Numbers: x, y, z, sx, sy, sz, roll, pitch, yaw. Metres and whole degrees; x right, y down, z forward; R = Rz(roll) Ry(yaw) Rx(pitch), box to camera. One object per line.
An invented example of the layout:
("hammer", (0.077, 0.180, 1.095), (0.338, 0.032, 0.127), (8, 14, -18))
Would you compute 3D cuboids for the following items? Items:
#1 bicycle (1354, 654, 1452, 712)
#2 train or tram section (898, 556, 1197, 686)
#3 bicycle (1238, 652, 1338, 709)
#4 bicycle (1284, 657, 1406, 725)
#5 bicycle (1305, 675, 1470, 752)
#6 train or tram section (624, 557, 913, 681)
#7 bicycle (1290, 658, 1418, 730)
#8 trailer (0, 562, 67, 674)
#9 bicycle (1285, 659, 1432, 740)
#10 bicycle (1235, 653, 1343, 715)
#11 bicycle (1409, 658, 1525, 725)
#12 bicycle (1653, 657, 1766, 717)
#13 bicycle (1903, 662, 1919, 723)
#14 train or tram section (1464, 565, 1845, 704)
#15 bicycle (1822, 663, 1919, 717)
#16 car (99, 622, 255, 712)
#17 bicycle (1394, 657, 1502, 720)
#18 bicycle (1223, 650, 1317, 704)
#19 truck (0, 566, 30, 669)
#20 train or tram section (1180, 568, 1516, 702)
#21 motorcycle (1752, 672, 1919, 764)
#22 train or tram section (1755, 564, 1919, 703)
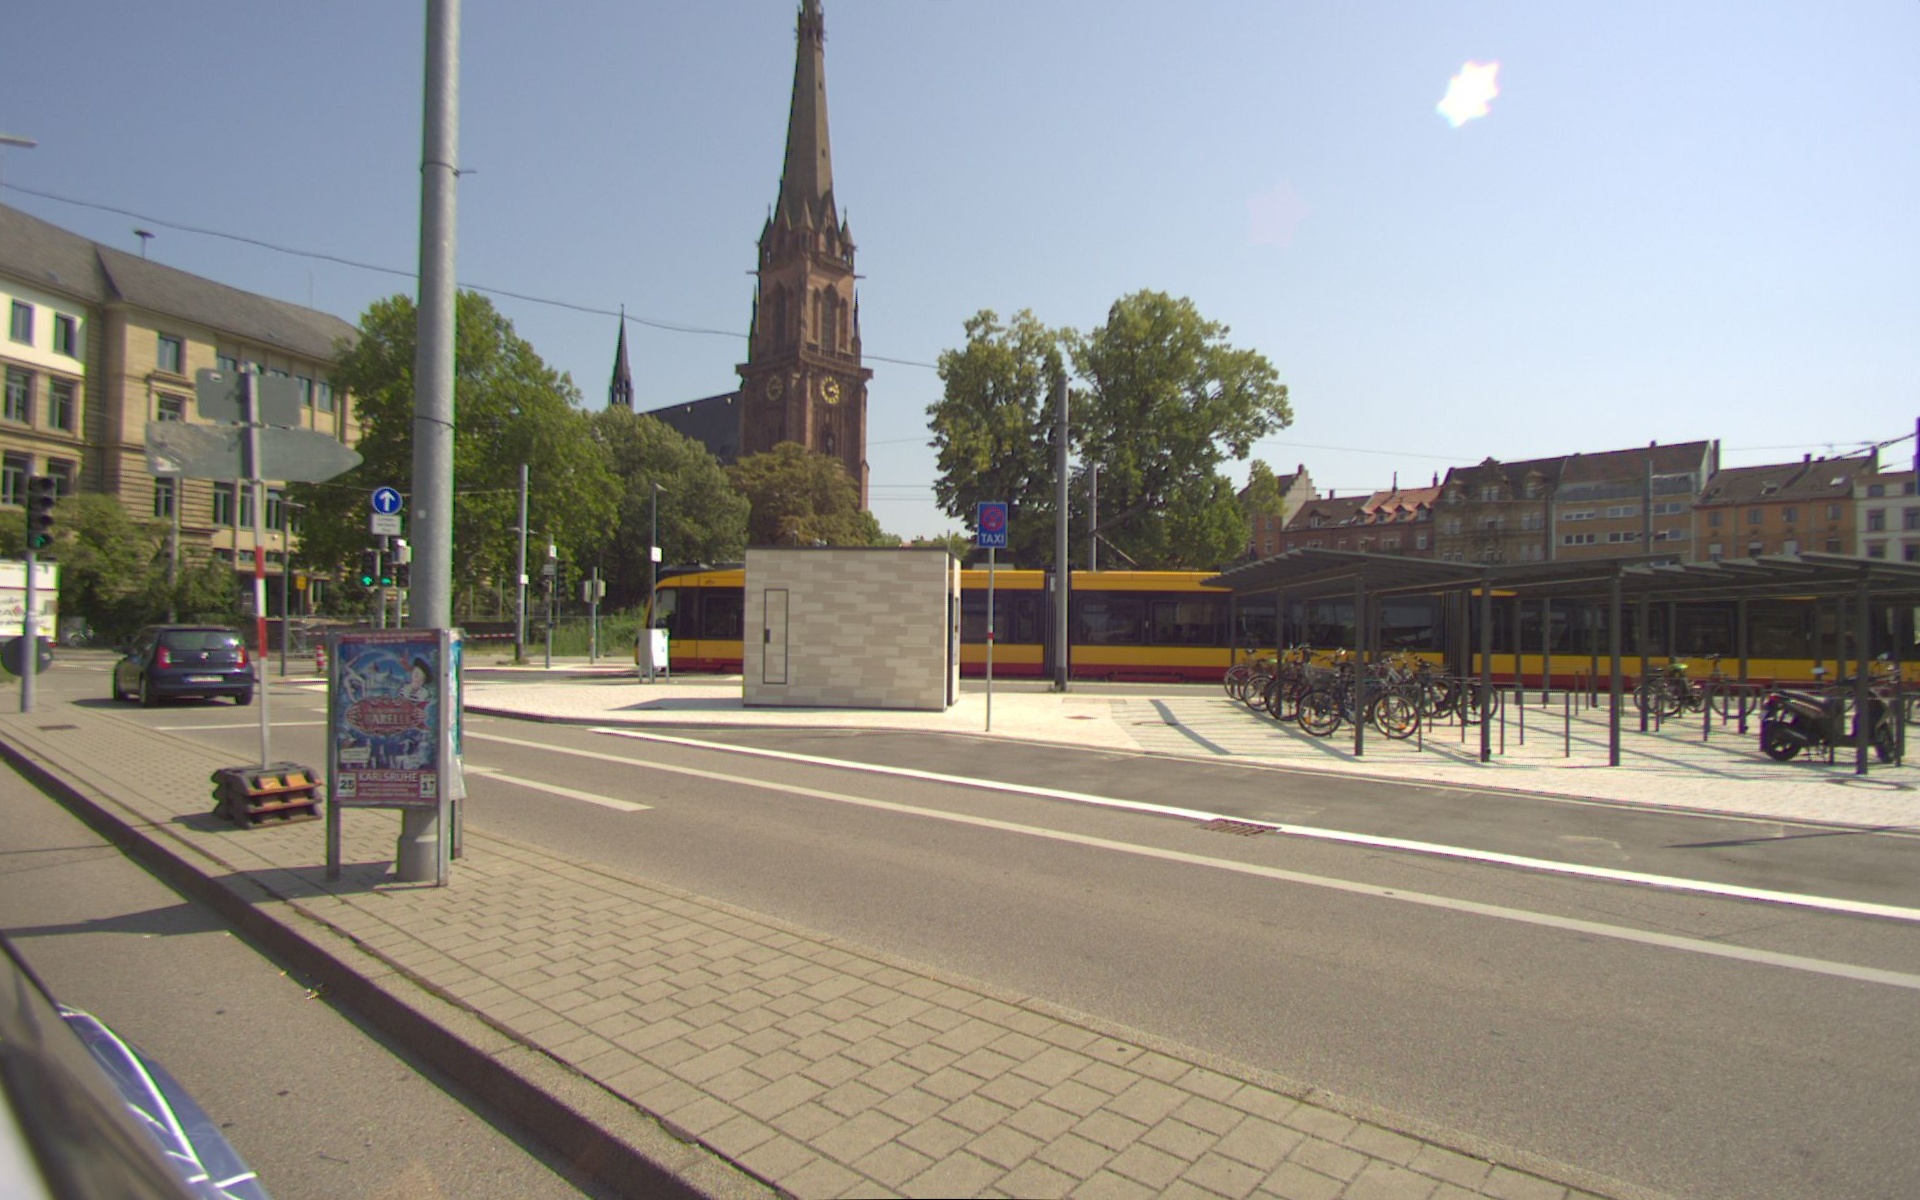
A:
("bicycle", (8.317, 1.550, 19.034), (1.622, 1.048, 0.412), (0, -2, 9))
("train or tram section", (2.559, 0.685, 30.288), (8.421, 3.625, 3.155), (0, -3, 6))
("bicycle", (6.247, 1.528, 19.345), (1.750, 1.048, 0.525), (0, -2, 9))
("bicycle", (6.196, 1.457, 16.357), (1.750, 1.048, 0.525), (0, -2, 9))
("bicycle", (5.462, 1.445, 13.007), (1.877, 0.890, 0.490), (1, -2, 9))
("train or tram section", (-5.725, 0.656, 31.205), (8.225, 3.588, 3.132), (0, -3, 6))
("bicycle", (6.073, 1.444, 15.664), (1.750, 1.048, 0.525), (0, -2, 9))
("trailer", (-30.547, 0.556, 31.759), (5.073, 3.313, 2.415), (0, -2, 33))
("bicycle", (5.613, 1.392, 14.320), (1.844, 1.090, 0.525), (0, -2, 9))
("bicycle", (5.851, 1.488, 18.057), (1.750, 1.048, 0.525), (0, -2, 9))
("bicycle", (8.268, 1.486, 16.541), (1.622, 1.048, 0.412), (0, -2, 9))
("bicycle", (13.673, 1.579, 18.488), (1.622, 1.048, 0.412), (0, -2, 9))
("bicycle", (17.599, 1.632, 17.759), (1.708, 1.048, 0.514), (1, -2, -6))
("train or tram section", (19.128, 0.993, 28.440), (8.144, 3.625, 3.155), (0, -3, 6))
("bicycle", (17.713, 1.711, 19.395), (1.833, 0.993, 0.512), (0, -2, 5))
("car", (-14.547, 1.198, 18.749), (3.584, 1.509, 1.564), (-1, -4, 41))
("bicycle", (8.444, 1.530, 17.555), (1.622, 1.048, 0.412), (0, -2, 9))
("bicycle", (6.253, 1.557, 20.509), (1.750, 1.048, 0.525), (0, -2, 9))
("truck", (-32.569, 0.558, 33.033), (3.417, 3.313, 2.403), (0, -2, 33))
("train or tram section", (10.897, 1.044, 29.343), (8.421, 3.625, 3.155), (0, -3, 6))
("motorcycle", (11.032, 1.459, 12.639), (1.759, 1.077, 0.490), (0, -2, 9))
("train or tram section", (27.206, 0.930, 27.572), (8.142, 3.597, 3.139), (-1, -3, 6))
